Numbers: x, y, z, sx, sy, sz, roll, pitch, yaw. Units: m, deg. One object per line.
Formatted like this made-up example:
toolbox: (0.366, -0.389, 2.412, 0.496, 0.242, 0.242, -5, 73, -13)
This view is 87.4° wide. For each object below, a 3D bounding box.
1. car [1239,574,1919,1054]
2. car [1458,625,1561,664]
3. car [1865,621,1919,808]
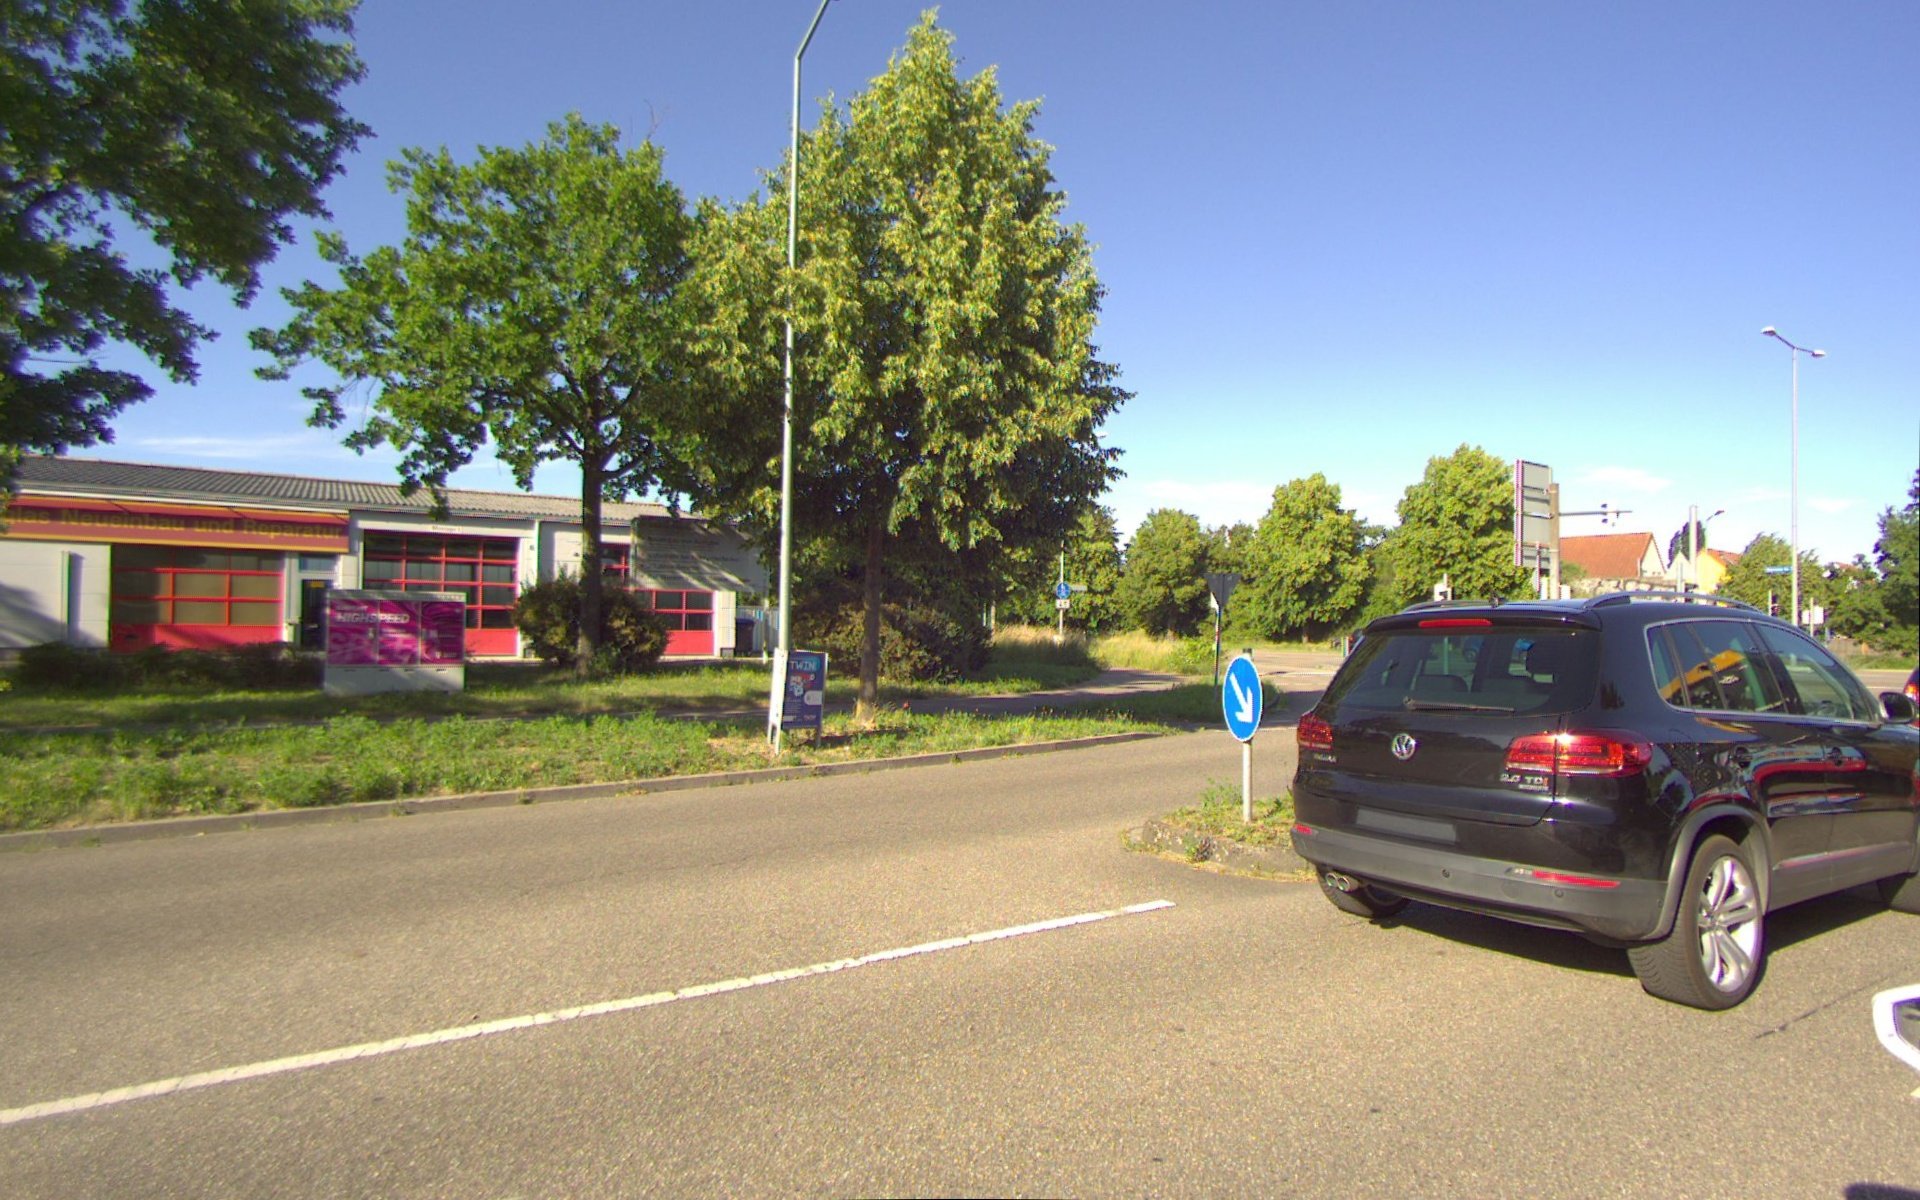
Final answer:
car: (3.548, 0.824, 5.318, 3.954, 1.675, 1.763, 1, -3, -31)
car: (23.754, 1.908, 43.499, 1.733, 1.581, 3.559, 2, -2, -35)
car: (10.226, 1.009, 9.218, 3.954, 1.610, 1.753, 1, -3, -31)
